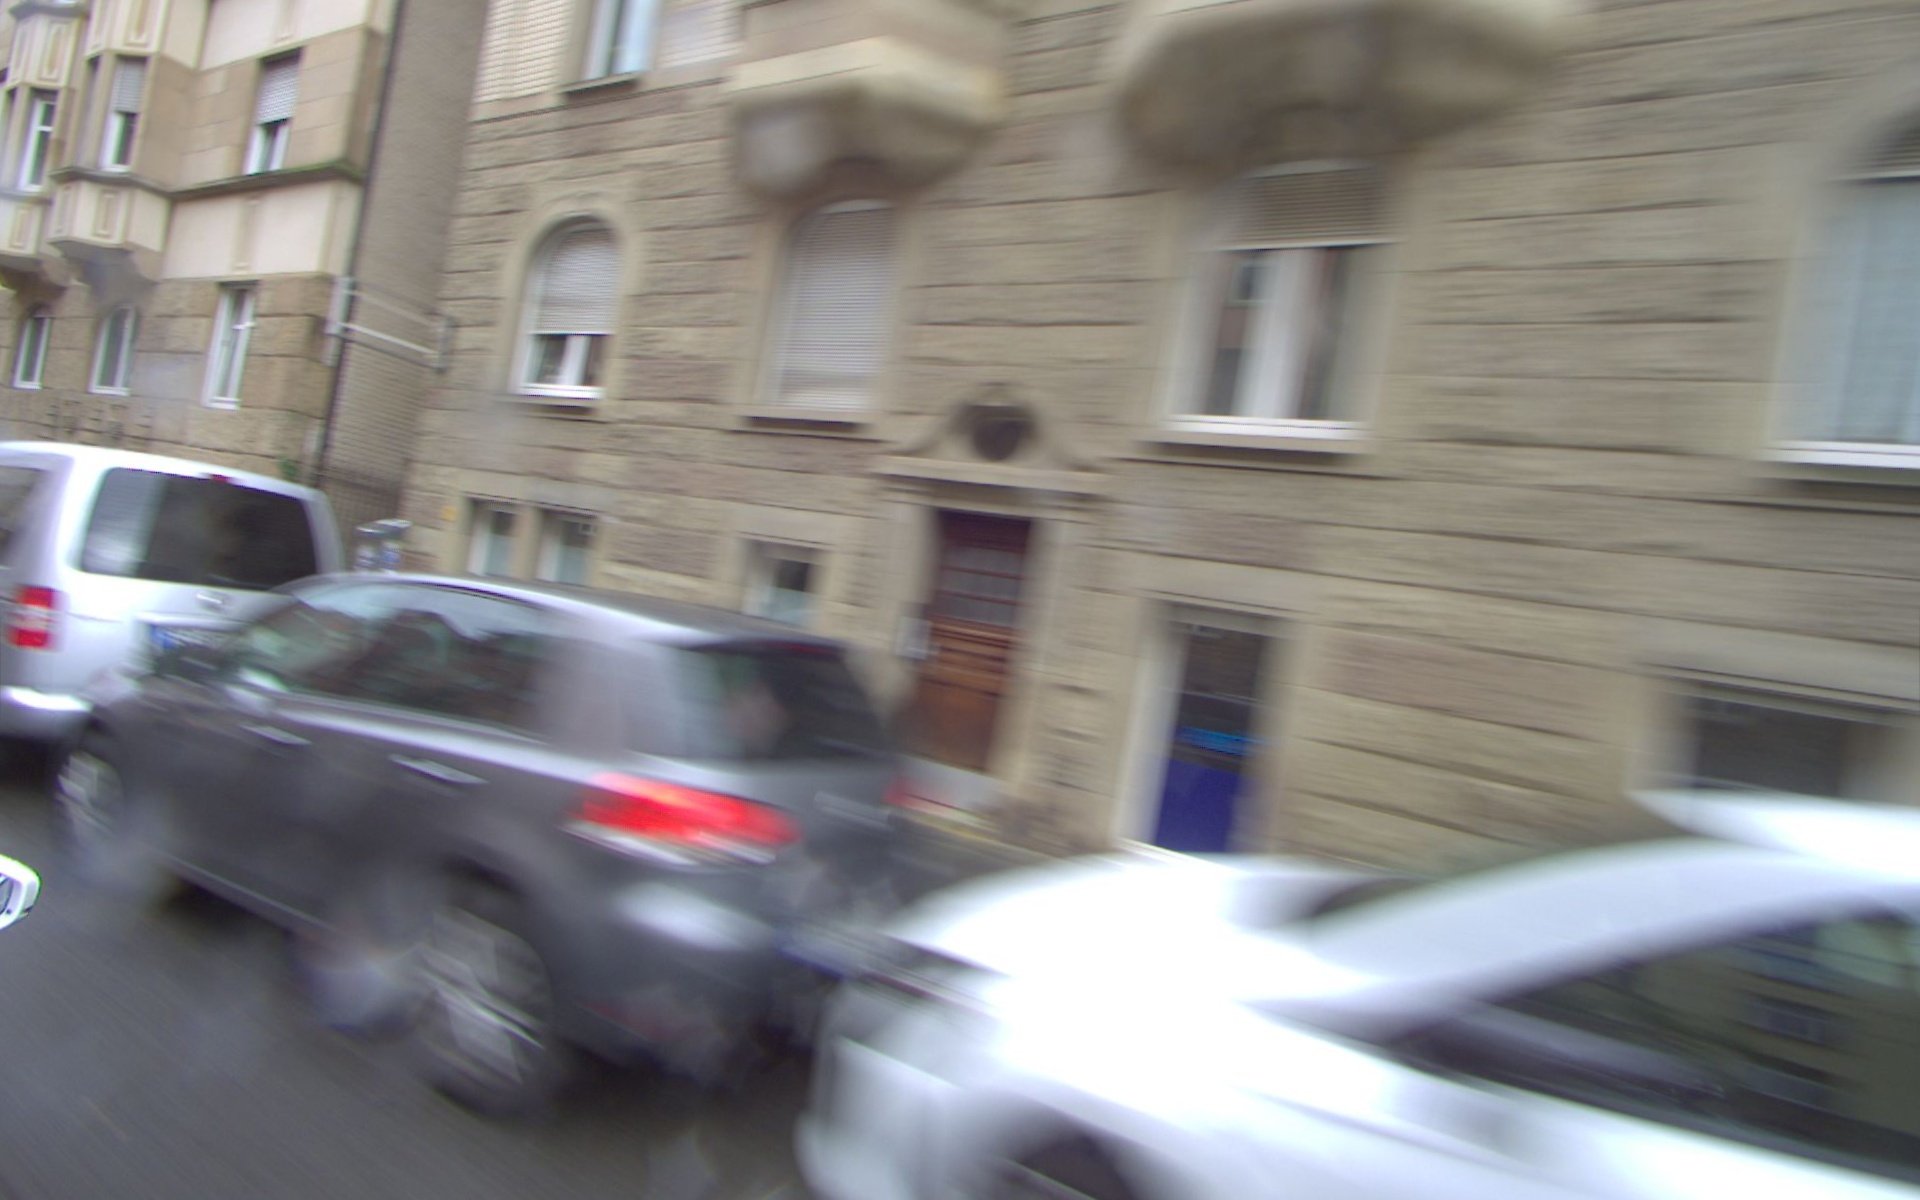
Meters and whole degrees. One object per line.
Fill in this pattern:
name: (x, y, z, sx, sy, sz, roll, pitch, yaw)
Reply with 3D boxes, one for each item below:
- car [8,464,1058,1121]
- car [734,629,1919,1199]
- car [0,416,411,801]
car: (-1.863, 0.420, 4.232, 3.933, 1.457, 1.998, 6, -3, 31)
car: (1.668, 1.081, 1.929, 3.933, 1.427, 1.680, 7, -3, 31)
car: (-5.776, -0.084, 6.504, 4.287, 1.796, 1.779, 7, -2, 30)
